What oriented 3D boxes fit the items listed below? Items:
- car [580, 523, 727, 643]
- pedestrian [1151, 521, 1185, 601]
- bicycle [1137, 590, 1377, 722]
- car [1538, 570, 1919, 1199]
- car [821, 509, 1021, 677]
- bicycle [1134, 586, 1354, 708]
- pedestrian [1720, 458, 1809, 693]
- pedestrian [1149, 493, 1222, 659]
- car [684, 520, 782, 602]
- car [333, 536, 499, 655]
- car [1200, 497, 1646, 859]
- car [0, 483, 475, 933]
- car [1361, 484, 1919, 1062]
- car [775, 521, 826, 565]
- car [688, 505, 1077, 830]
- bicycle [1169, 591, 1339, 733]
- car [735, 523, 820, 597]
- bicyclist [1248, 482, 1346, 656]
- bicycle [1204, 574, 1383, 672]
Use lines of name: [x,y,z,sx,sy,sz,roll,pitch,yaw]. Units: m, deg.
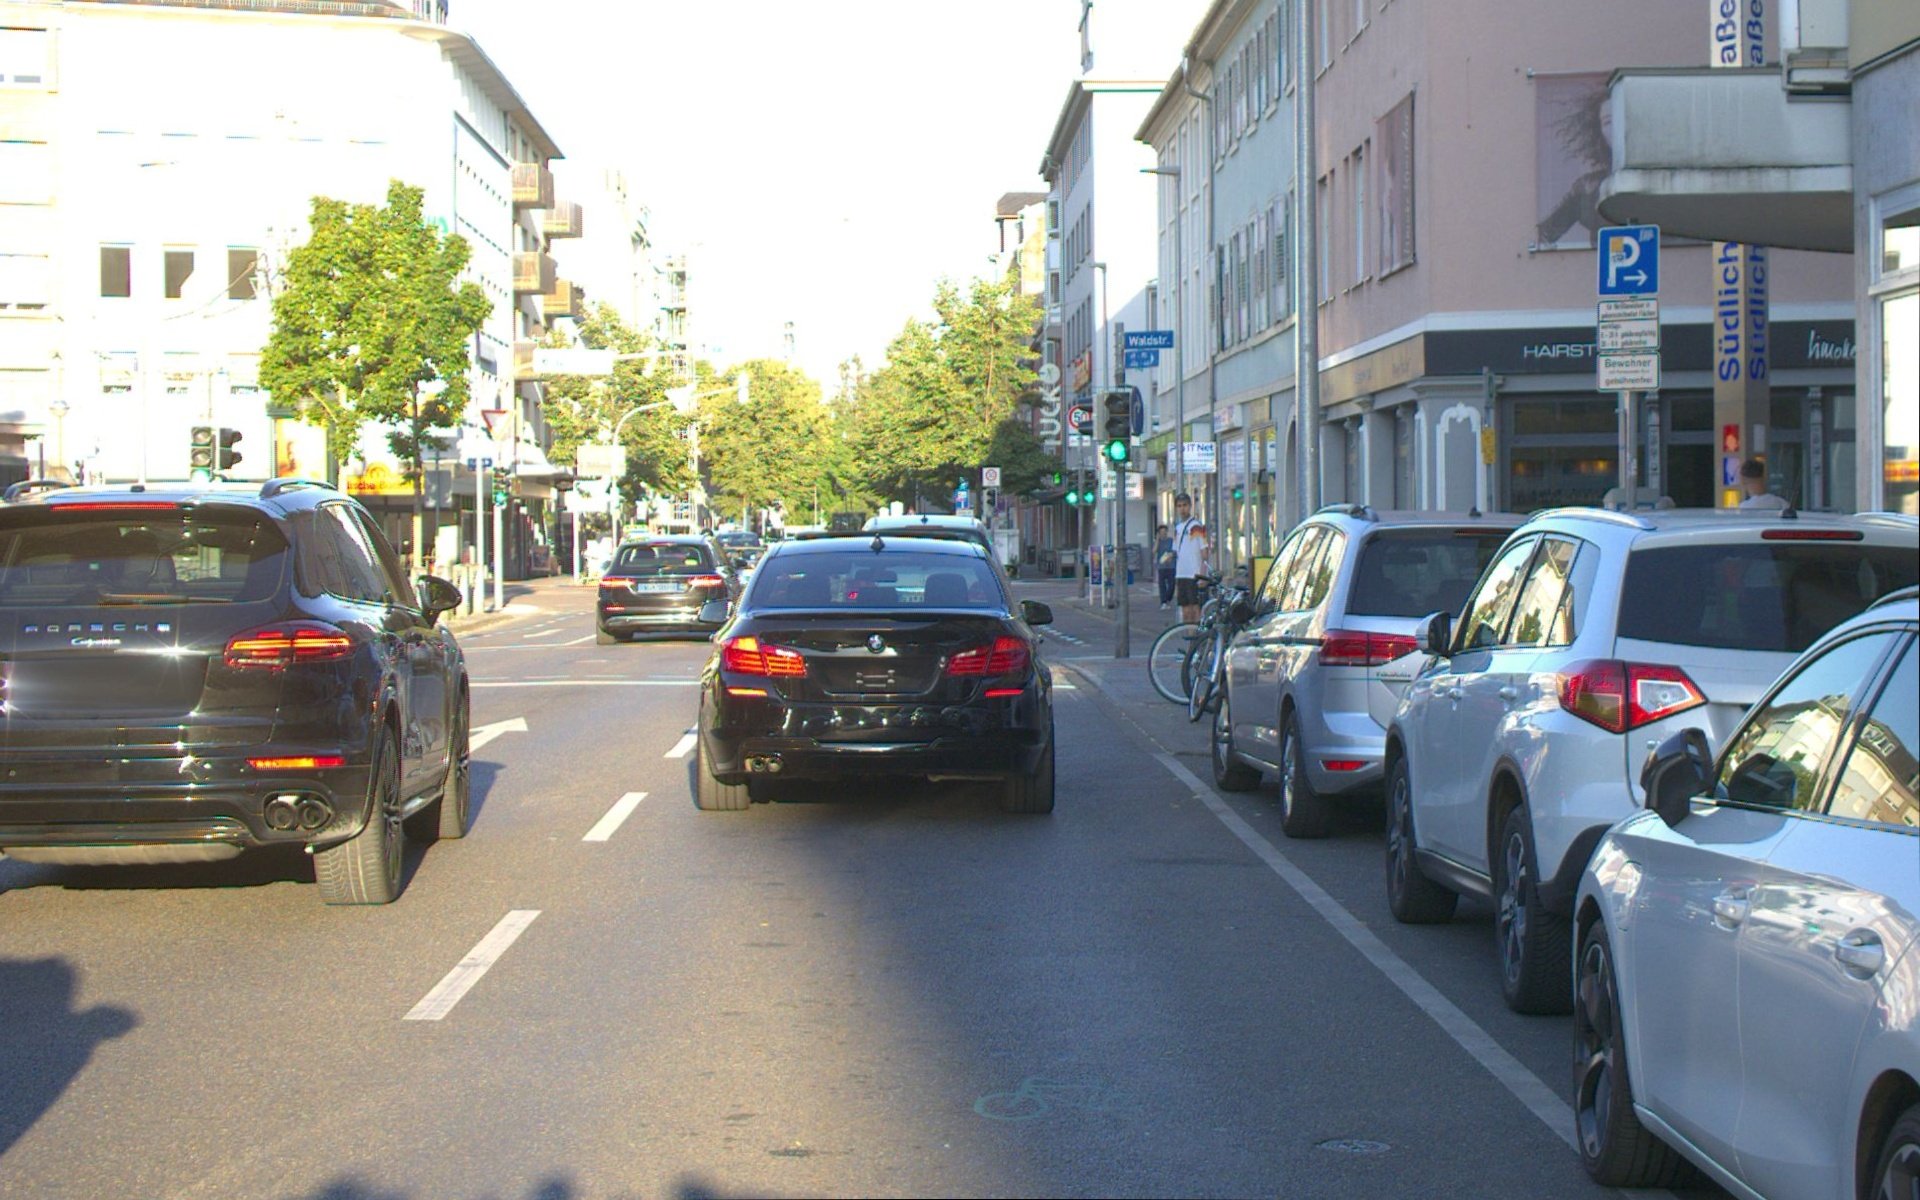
car: [-4.115,-0.266,46.621,1.779,1.542,4.001,0,1,-2]
pedestrian: [4.020,-0.755,66.570,0.632,1.528,0.702,0,1,2]
bicycle: [2.282,0.419,26.472,1.768,0.963,0.490,1,1,24]
car: [2.312,0.699,6.350,1.730,1.445,4.312,2,1,0]
car: [-0.432,-0.109,35.072,1.896,1.575,4.001,1,1,-2]
bicycle: [2.310,0.376,28.017,1.766,0.963,0.490,0,1,4]
pedestrian: [6.249,-0.194,26.707,0.507,1.805,0.573,0,1,-4]
pedestrian: [2.464,-0.268,37.619,0.699,1.805,0.635,0,1,-4]
car: [-4.384,-0.774,66.901,1.779,1.542,4.001,0,1,-2]
car: [-7.451,-0.101,47.382,1.779,1.542,4.001,0,1,-2]
car: [2.305,0.340,18.077,1.729,1.646,3.970,2,1,-1]
car: [-3.235,0.350,14.599,1.896,1.644,4.105,0,1,-2]
car: [2.511,0.485,11.859,1.729,1.646,3.829,2,1,-1]
car: [-5.696,-2.037,122.937,1.779,1.542,4.001,0,1,-2]
car: [-0.441,0.293,19.045,1.896,1.575,4.001,1,1,-2]
bicycle: [2.131,0.433,25.131,0.488,0.963,1.772,0,1,-22]
car: [-3.957,-0.894,74.978,1.779,1.542,4.001,0,1,-2]
bicyclist: [3.467,-0.324,35.357,0.832,1.771,0.608,1,1,26]
bicycle: [3.431,0.228,35.382,1.768,0.963,0.490,1,1,26]
